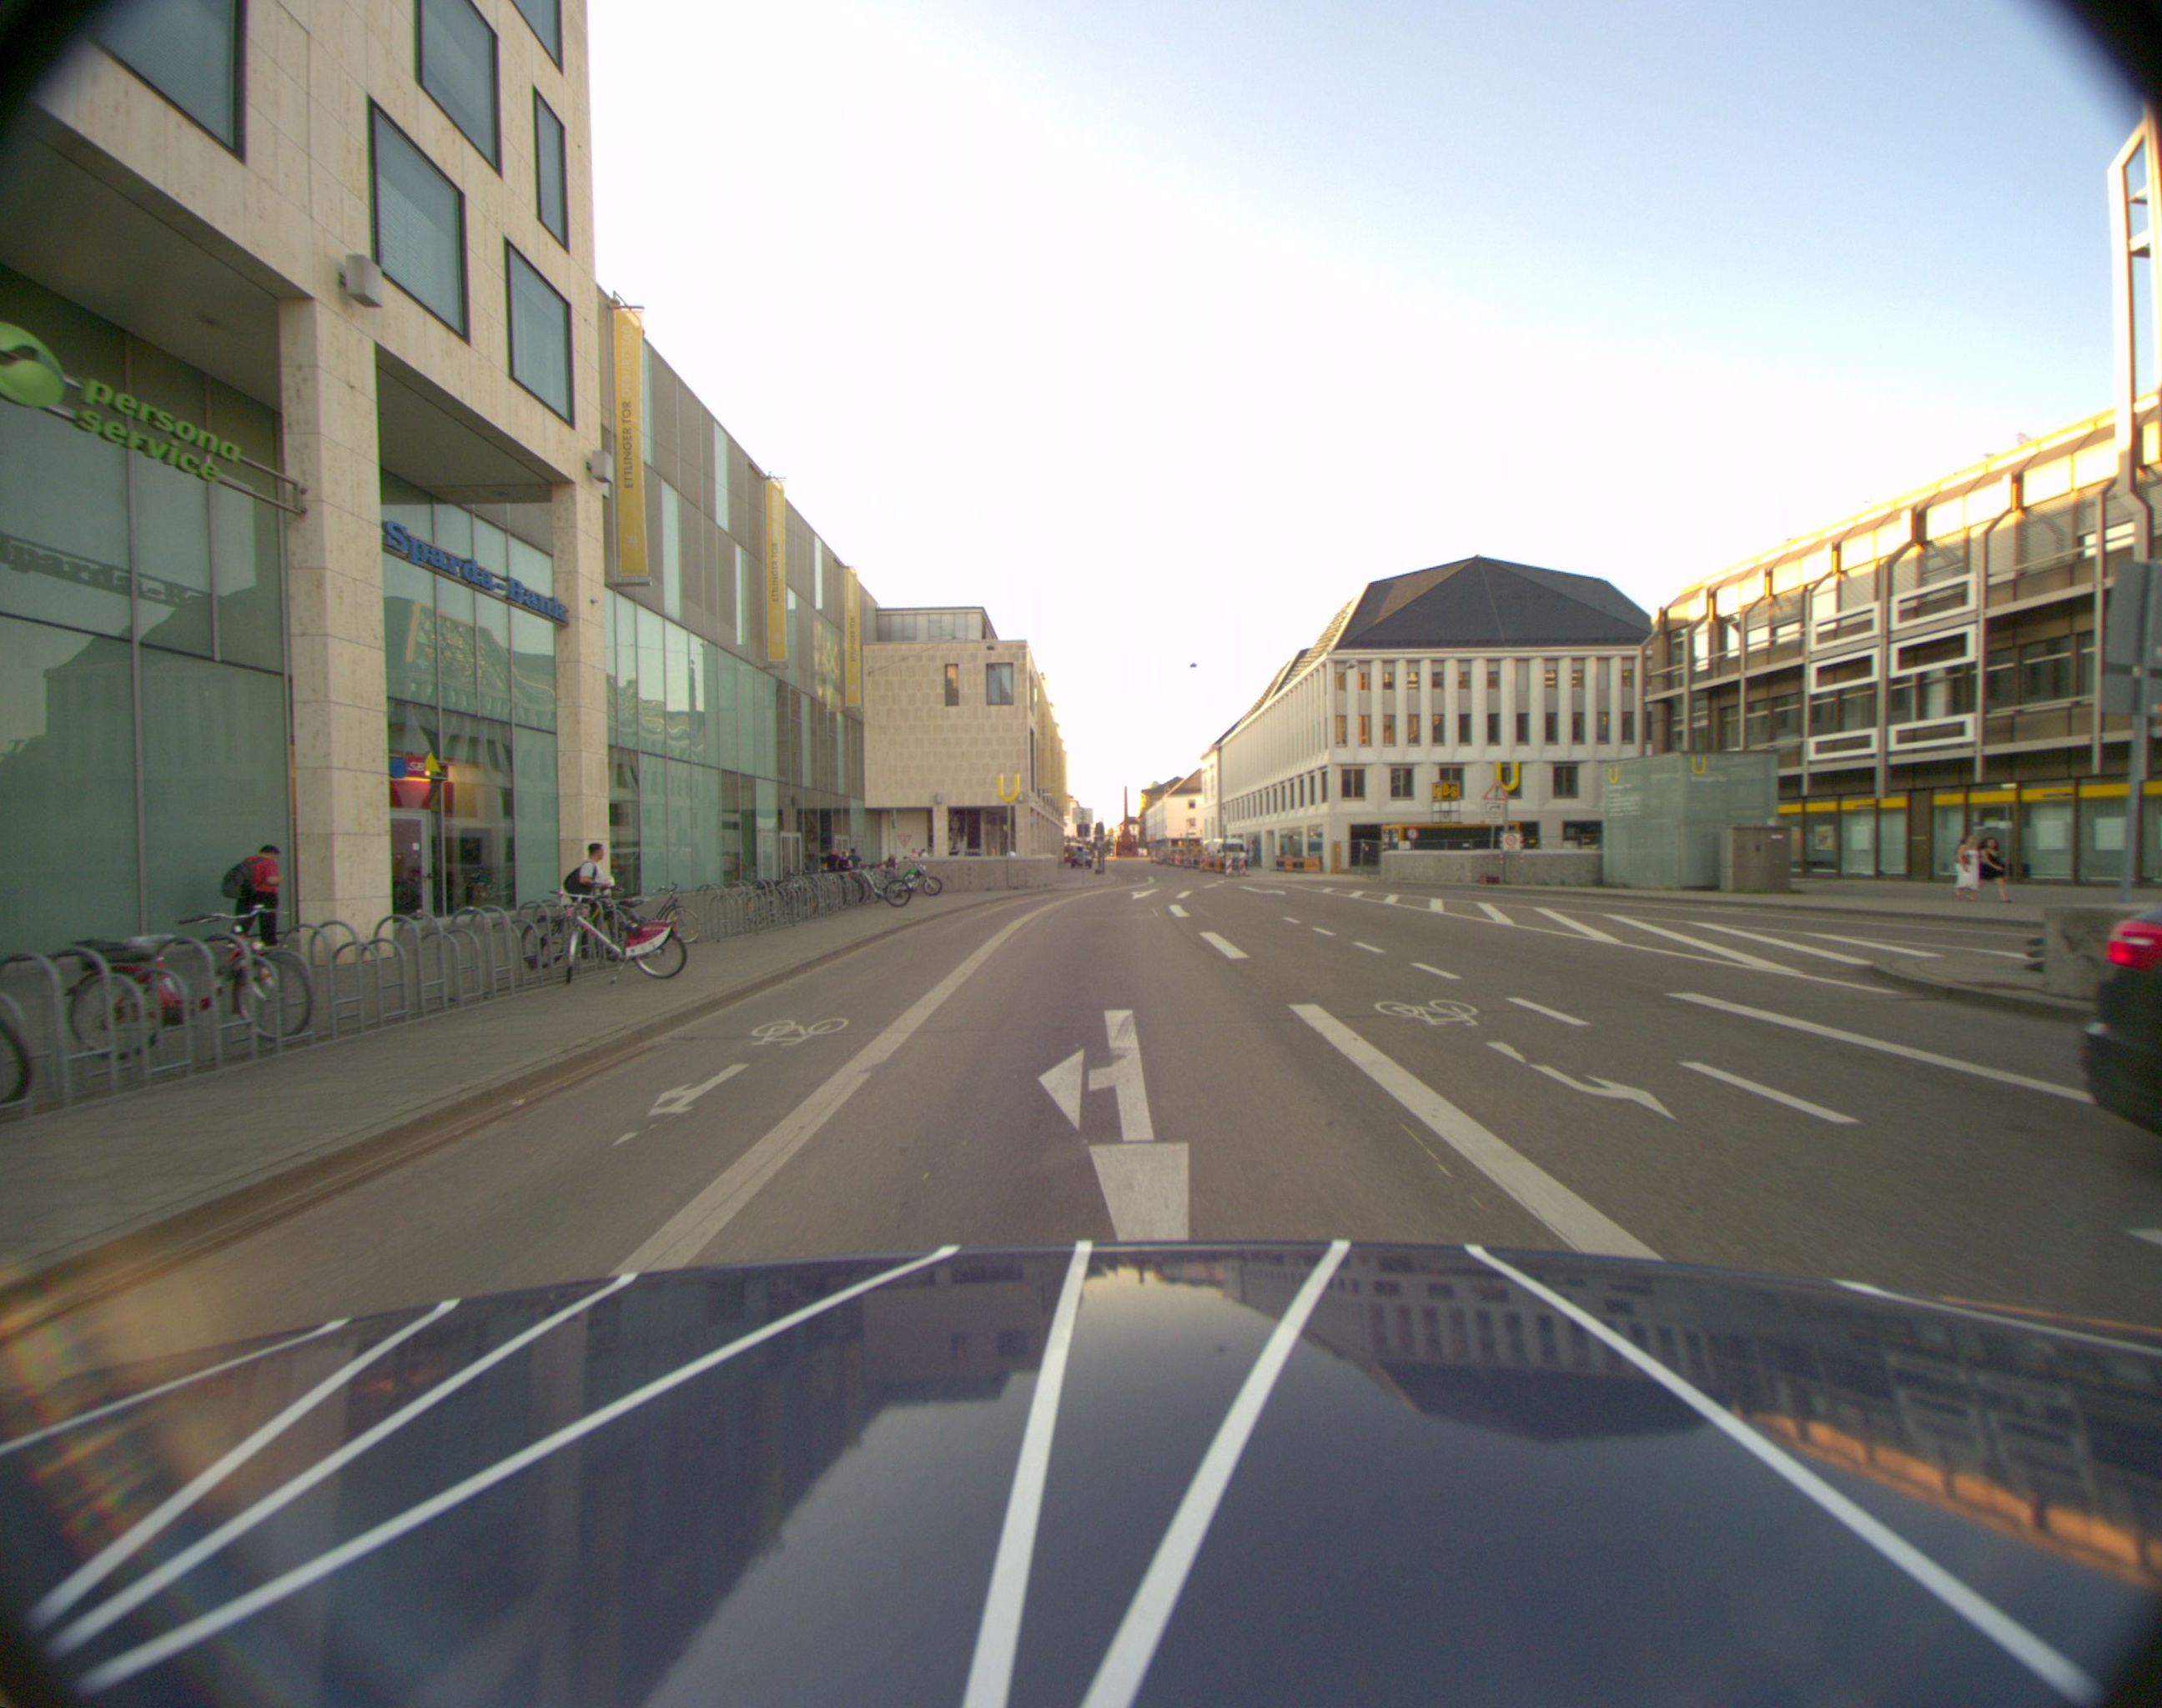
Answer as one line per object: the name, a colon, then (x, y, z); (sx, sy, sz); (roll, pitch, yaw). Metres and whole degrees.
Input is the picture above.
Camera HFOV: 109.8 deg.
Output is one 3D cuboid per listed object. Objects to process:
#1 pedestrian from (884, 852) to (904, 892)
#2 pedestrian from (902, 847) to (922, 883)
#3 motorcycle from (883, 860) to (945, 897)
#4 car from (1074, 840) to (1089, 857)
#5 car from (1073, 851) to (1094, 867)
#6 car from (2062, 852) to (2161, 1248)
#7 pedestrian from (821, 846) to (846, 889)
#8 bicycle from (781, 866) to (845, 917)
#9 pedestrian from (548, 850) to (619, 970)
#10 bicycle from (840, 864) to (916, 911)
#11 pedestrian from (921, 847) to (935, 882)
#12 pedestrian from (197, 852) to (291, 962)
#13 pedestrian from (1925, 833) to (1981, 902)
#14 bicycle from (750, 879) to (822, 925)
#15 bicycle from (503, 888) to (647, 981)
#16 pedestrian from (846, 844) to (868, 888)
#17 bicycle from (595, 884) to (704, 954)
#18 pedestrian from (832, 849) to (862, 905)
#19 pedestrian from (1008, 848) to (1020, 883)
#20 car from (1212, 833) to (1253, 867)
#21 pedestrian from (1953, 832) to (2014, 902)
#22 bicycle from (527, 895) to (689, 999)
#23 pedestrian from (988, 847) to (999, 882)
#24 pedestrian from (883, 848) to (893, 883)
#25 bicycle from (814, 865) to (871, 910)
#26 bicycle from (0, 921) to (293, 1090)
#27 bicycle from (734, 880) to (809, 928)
pedestrian: (-8.335, 0.804, 33.862); (0.619, 1.770, 0.812); (-1, 1, 3)
pedestrian: (-8.434, 0.542, 37.988); (0.793, 1.734, 0.656); (-1, 1, 3)
motorcycle: (-5.694, 0.827, 25.927); (2.007, 1.217, 0.480); (-1, 1, -2)
car: (0.091, -0.755, 102.246); (1.798, 2.199, 3.671); (-1, 1, 3)
car: (0.275, 0.452, 69.370); (1.798, 1.365, 3.671); (-1, 0, 3)
car: (4.864, 0.717, 0.890); (1.762, 1.454, 4.379); (-2, 1, 0)
pedestrian: (-9.778, 0.524, 30.011); (0.740, 1.638, 0.820); (-1, 1, -6)
bicycle: (-6.652, 0.925, 18.923); (1.345, 1.157, 0.518); (-3, 1, -1)
pedestrian: (-7.257, 0.790, 11.119); (0.708, 1.682, 0.628); (-1, 1, -21)
bicycle: (-5.380, 0.887, 20.163); (1.838, 1.140, 0.466); (-3, 1, 2)
pedestrian: (-7.706, 0.528, 38.325); (0.494, 1.734, 0.656); (-1, 1, 3)
pedestrian: (-12.932, 0.798, 11.763); (0.629, 1.642, 0.708); (-1, 1, 2)
pedestrian: (21.025, 0.316, 18.327); (0.670, 1.630, 0.584); (-1, 1, 1)
bicycle: (-6.591, 1.068, 16.997); (1.345, 0.927, 0.518); (-3, 1, -1)
bicycle: (-6.801, 1.071, 10.240); (1.518, 1.117, 0.580); (-3, 1, 4)
pedestrian: (-8.846, 0.463, 30.031); (0.698, 1.686, 0.820); (-1, 1, -6)
bicycle: (-7.302, 1.089, 12.921); (1.447, 1.058, 0.580); (-3, 1, -10)
pedestrian: (-7.035, 0.672, 22.831); (0.809, 1.633, 0.646); (-1, 1, -18)
pedestrian: (-3.388, 0.582, 38.489); (0.516, 1.734, 0.492); (-1, 1, 3)
car: (12.044, -0.342, 60.965); (2.141, 2.541, 6.050); (-1, 1, 1)
pedestrian: (21.665, 0.306, 18.253); (0.616, 1.630, 0.702); (-1, 1, 1)
bicycle: (-5.403, 1.053, 8.713); (1.518, 1.057, 0.466); (-3, 1, 2)
pedestrian: (-4.410, 0.514, 38.386); (0.454, 1.734, 0.492); (-1, 1, 3)
pedestrian: (-9.624, 0.563, 37.911); (0.364, 1.734, 0.452); (-1, 1, 3)
bicycle: (-6.593, 0.922, 21.008); (1.345, 1.157, 0.518); (-3, 1, -1)
bicycle: (-7.142, 1.127, 5.824); (1.519, 1.099, 0.552); (-3, 1, -2)
bicycle: (-6.650, 1.068, 16.351); (1.345, 0.927, 0.518); (-3, 1, -1)
